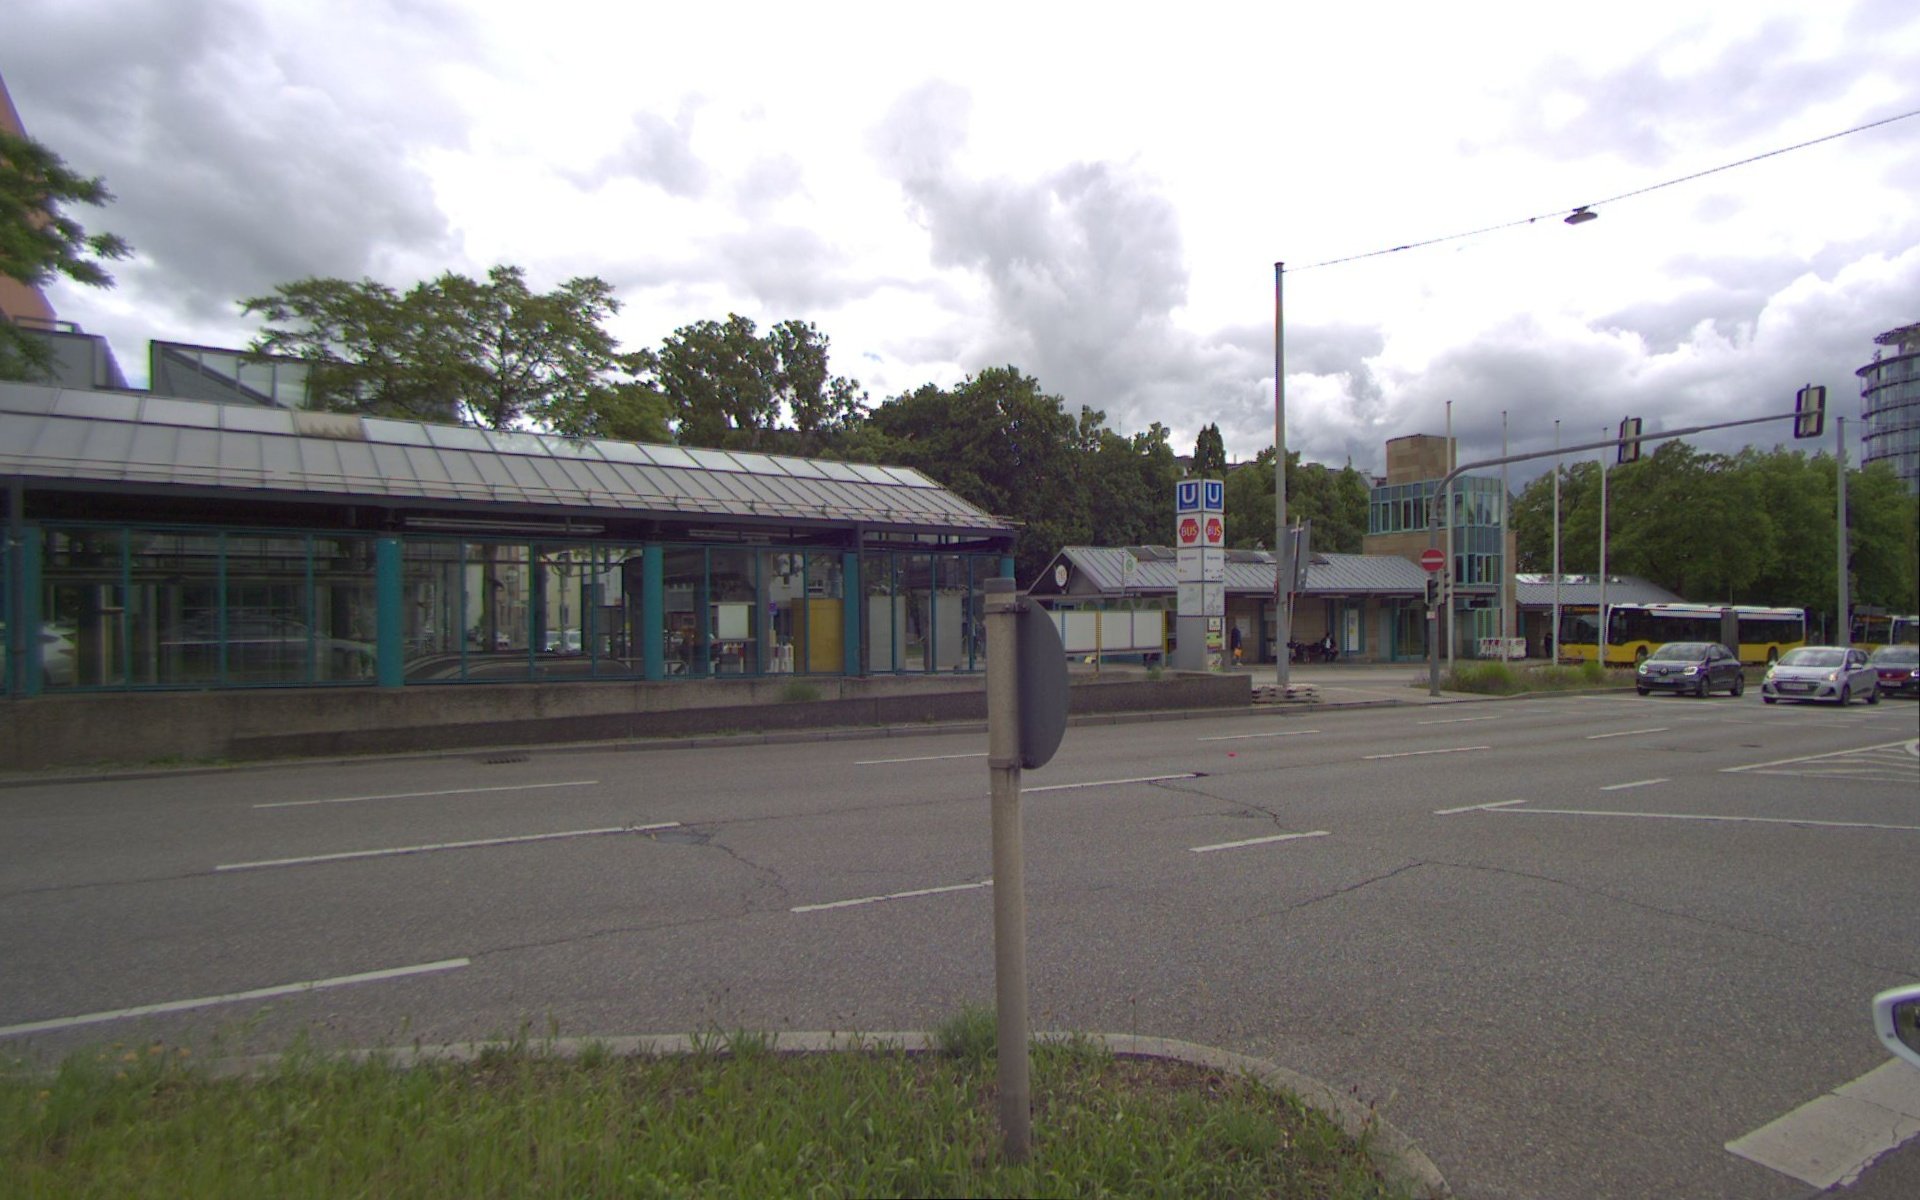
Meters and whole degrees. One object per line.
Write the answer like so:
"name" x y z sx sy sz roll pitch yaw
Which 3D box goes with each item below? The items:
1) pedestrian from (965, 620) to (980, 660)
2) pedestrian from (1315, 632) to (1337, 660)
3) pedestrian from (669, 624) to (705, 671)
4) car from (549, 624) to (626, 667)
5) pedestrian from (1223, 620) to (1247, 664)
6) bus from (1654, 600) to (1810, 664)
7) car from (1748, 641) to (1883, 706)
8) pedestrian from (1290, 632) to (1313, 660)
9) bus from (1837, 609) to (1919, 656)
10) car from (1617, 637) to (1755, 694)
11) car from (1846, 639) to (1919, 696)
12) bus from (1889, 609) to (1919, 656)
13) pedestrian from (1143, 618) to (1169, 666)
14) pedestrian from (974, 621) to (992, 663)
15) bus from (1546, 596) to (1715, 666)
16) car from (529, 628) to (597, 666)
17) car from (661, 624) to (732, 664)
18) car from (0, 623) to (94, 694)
"pedestrian" 0.496 1.554 39.075 0.475 1.568 0.384 1 -1 14
"pedestrian" 15.298 1.930 42.005 0.650 1.136 0.617 1 -2 -29
"pedestrian" -8.727 1.519 32.116 0.981 1.480 0.587 1 -1 -31
"car" -15.123 1.816 40.666 1.981 1.617 3.960 2 -1 -35
"pedestrian" 10.607 1.613 38.707 0.650 1.671 0.617 1 -1 -29
"bus" 41.236 1.685 53.580 9.177 3.174 2.800 1 1 -26
"car" 22.365 1.853 26.224 3.750 1.485 1.735 0 -1 -34
"pedestrian" 14.096 1.910 41.480 0.650 1.136 0.617 1 -2 -29
"bus" 67.812 2.364 73.226 10.621 3.205 3.066 1 0 -33
"car" 21.105 1.877 29.183 3.953 1.528 1.807 2 -2 -30
"car" 27.395 1.928 29.160 3.730 1.528 1.648 2 -2 -34
"bus" 76.525 2.582 78.615 9.797 3.502 3.016 1 0 -31
"pedestrian" 6.962 1.489 35.661 0.650 1.671 0.617 1 -1 -29
"pedestrian" 0.891 1.578 38.289 0.520 1.568 0.754 1 -1 14
"bus" 33.079 1.492 49.409 9.318 3.174 2.765 1 0 -28
"car" -18.071 2.108 45.673 1.981 1.617 3.960 2 -1 -35
"car" -12.650 2.081 48.058 1.981 1.706 3.959 1 0 -36
"car" -20.961 1.182 20.562 4.672 1.418 1.679 2 -2 -34
